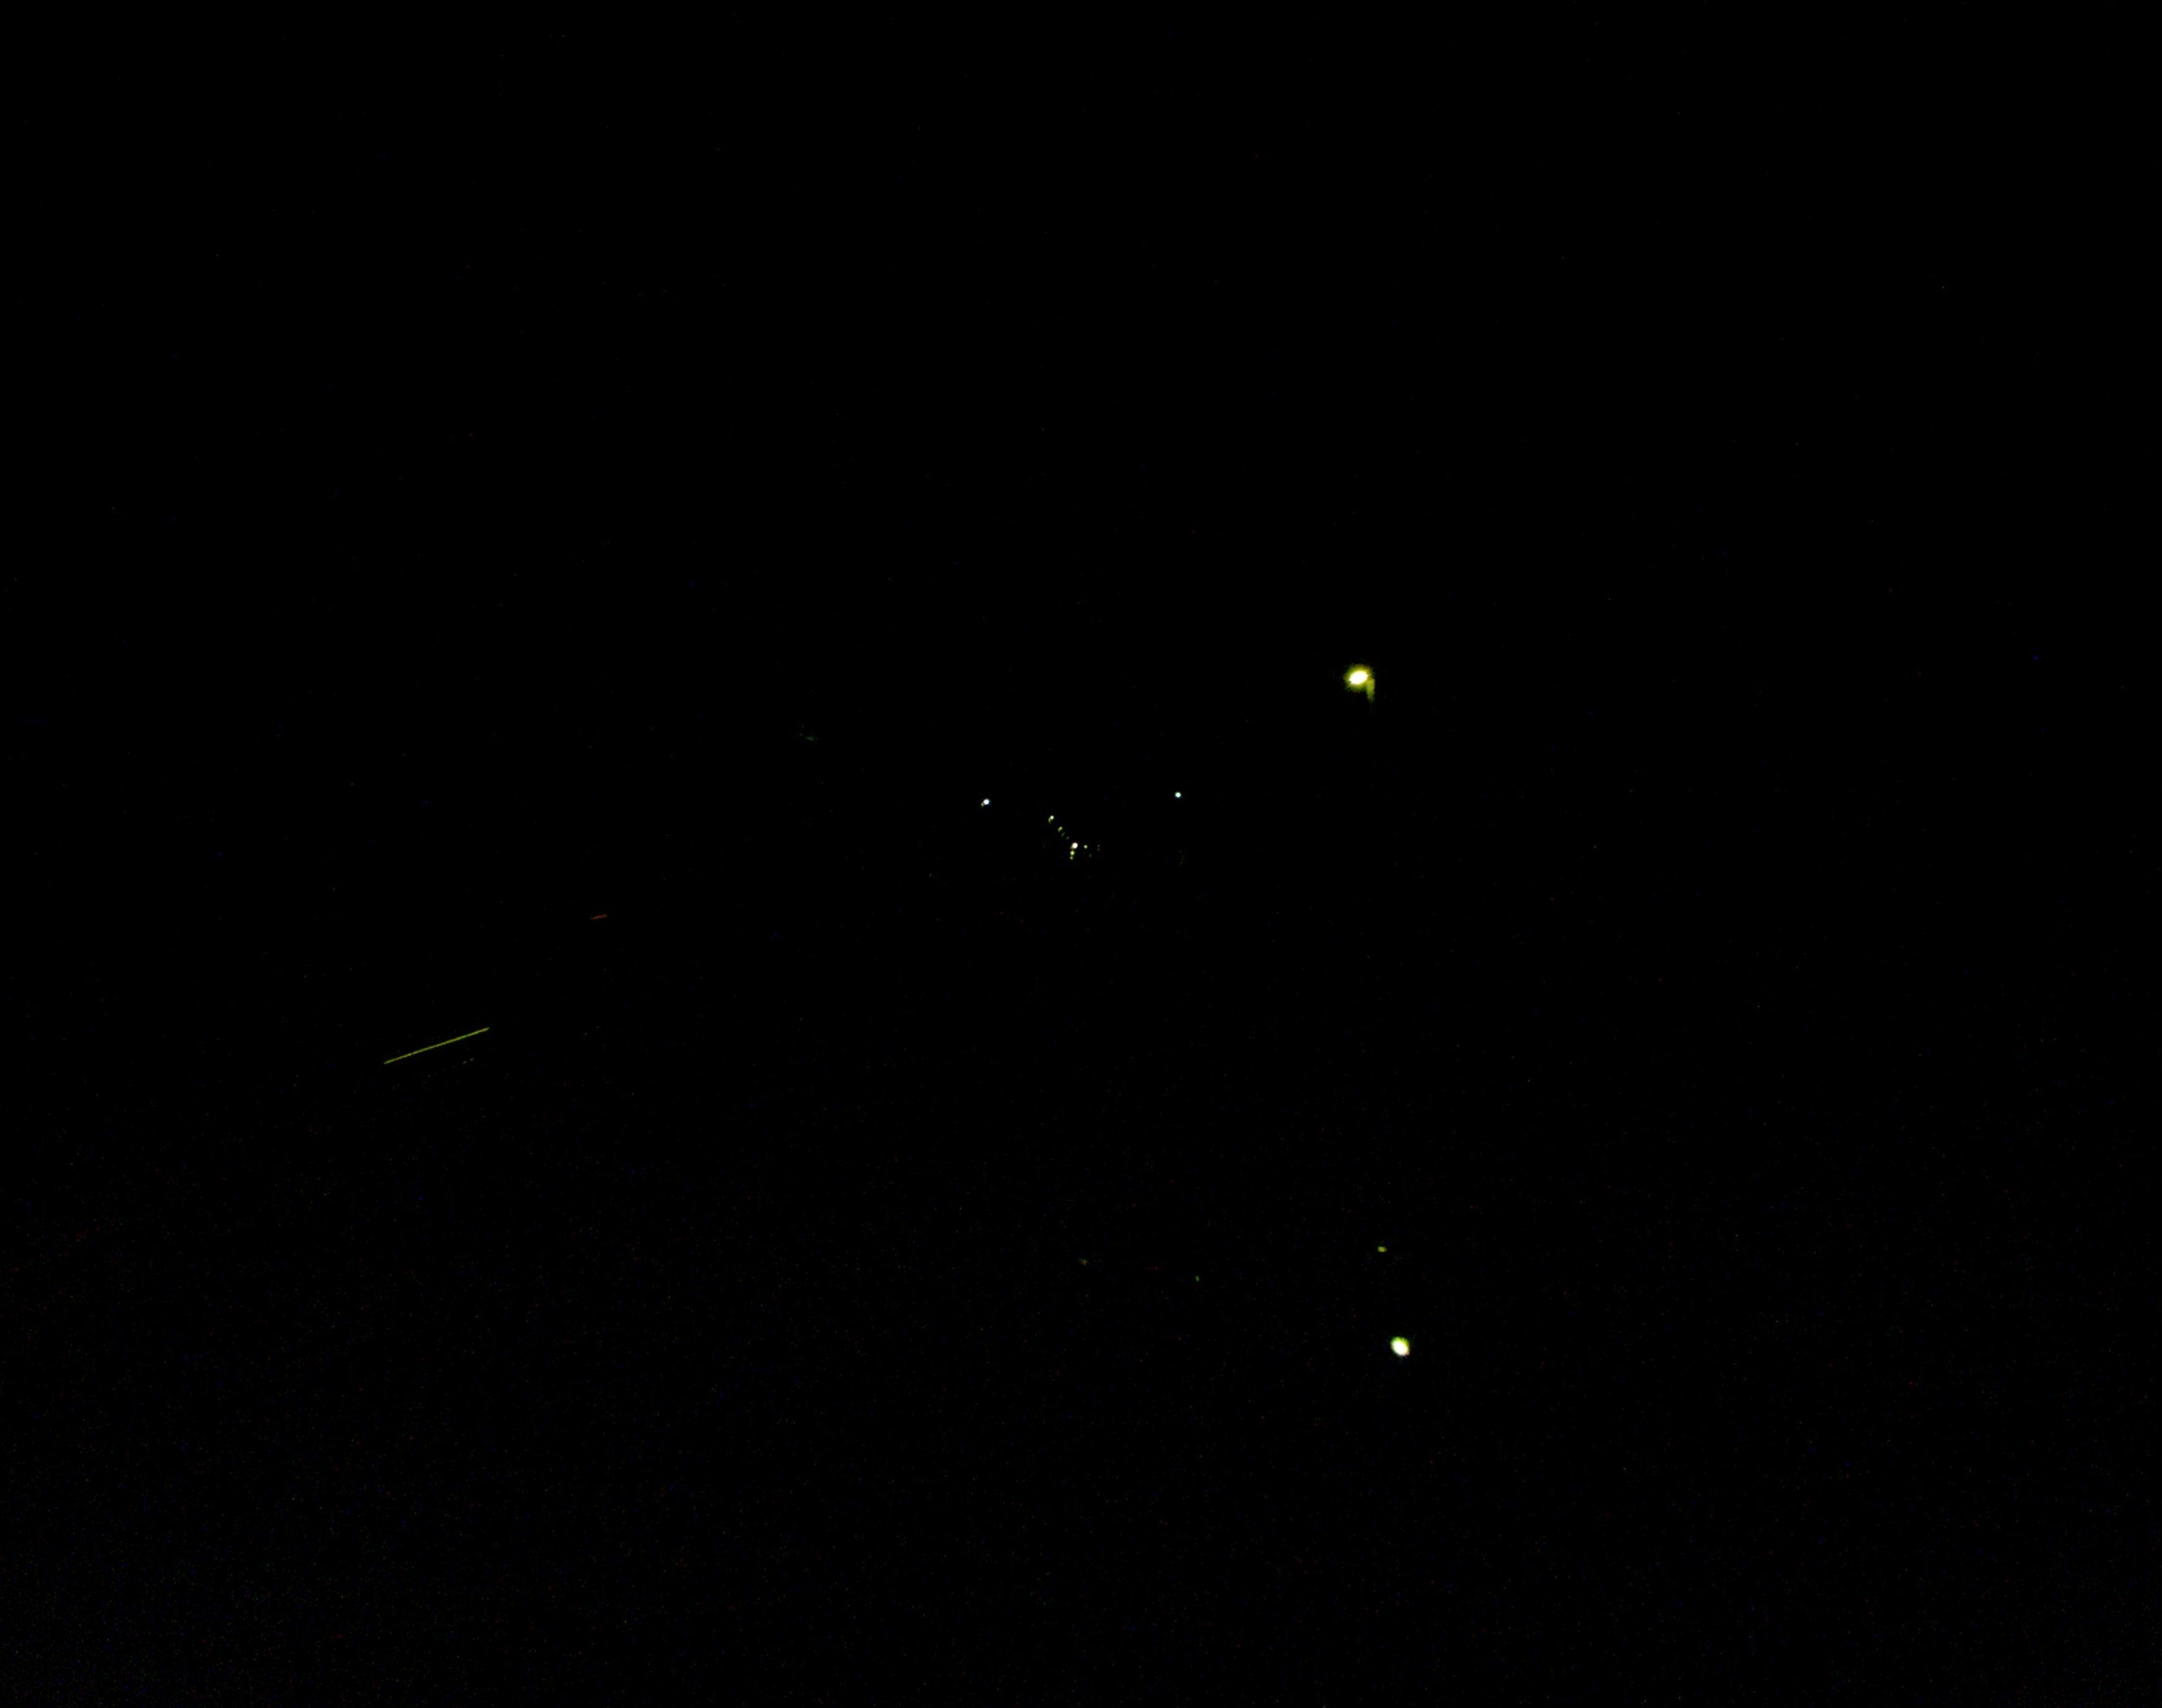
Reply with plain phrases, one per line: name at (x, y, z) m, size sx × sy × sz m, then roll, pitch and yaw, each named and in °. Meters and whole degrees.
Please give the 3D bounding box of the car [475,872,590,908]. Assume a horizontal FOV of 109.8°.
car at (-28.758, 1.831, 40.011) m, size 4.660 × 1.663 × 1.928 m, roll -1°, pitch 0°, yaw -28°

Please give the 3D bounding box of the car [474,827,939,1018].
car at (-4.791, 0.838, 10.436) m, size 5.156 × 2.084 × 2.259 m, roll -3°, pitch 0°, yaw 0°

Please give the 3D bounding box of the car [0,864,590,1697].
car at (-4.348, 1.023, 2.393) m, size 4.285 × 1.688 × 2.001 m, roll -4°, pitch 0°, yaw 5°

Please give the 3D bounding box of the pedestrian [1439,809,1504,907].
pedestrian at (7.991, 0.078, 15.569) m, size 0.747 × 1.893 × 0.830 m, roll -5°, pitch 1°, yaw 0°

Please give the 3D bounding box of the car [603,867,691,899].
car at (-24.048, 1.574, 42.255) m, size 4.006 × 1.589 × 1.756 m, roll -1°, pitch 0°, yaw -21°

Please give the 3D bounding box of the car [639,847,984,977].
car at (-4.458, 0.926, 13.315) m, size 5.156 × 1.834 × 2.259 m, roll -3°, pitch 0°, yaw 0°
